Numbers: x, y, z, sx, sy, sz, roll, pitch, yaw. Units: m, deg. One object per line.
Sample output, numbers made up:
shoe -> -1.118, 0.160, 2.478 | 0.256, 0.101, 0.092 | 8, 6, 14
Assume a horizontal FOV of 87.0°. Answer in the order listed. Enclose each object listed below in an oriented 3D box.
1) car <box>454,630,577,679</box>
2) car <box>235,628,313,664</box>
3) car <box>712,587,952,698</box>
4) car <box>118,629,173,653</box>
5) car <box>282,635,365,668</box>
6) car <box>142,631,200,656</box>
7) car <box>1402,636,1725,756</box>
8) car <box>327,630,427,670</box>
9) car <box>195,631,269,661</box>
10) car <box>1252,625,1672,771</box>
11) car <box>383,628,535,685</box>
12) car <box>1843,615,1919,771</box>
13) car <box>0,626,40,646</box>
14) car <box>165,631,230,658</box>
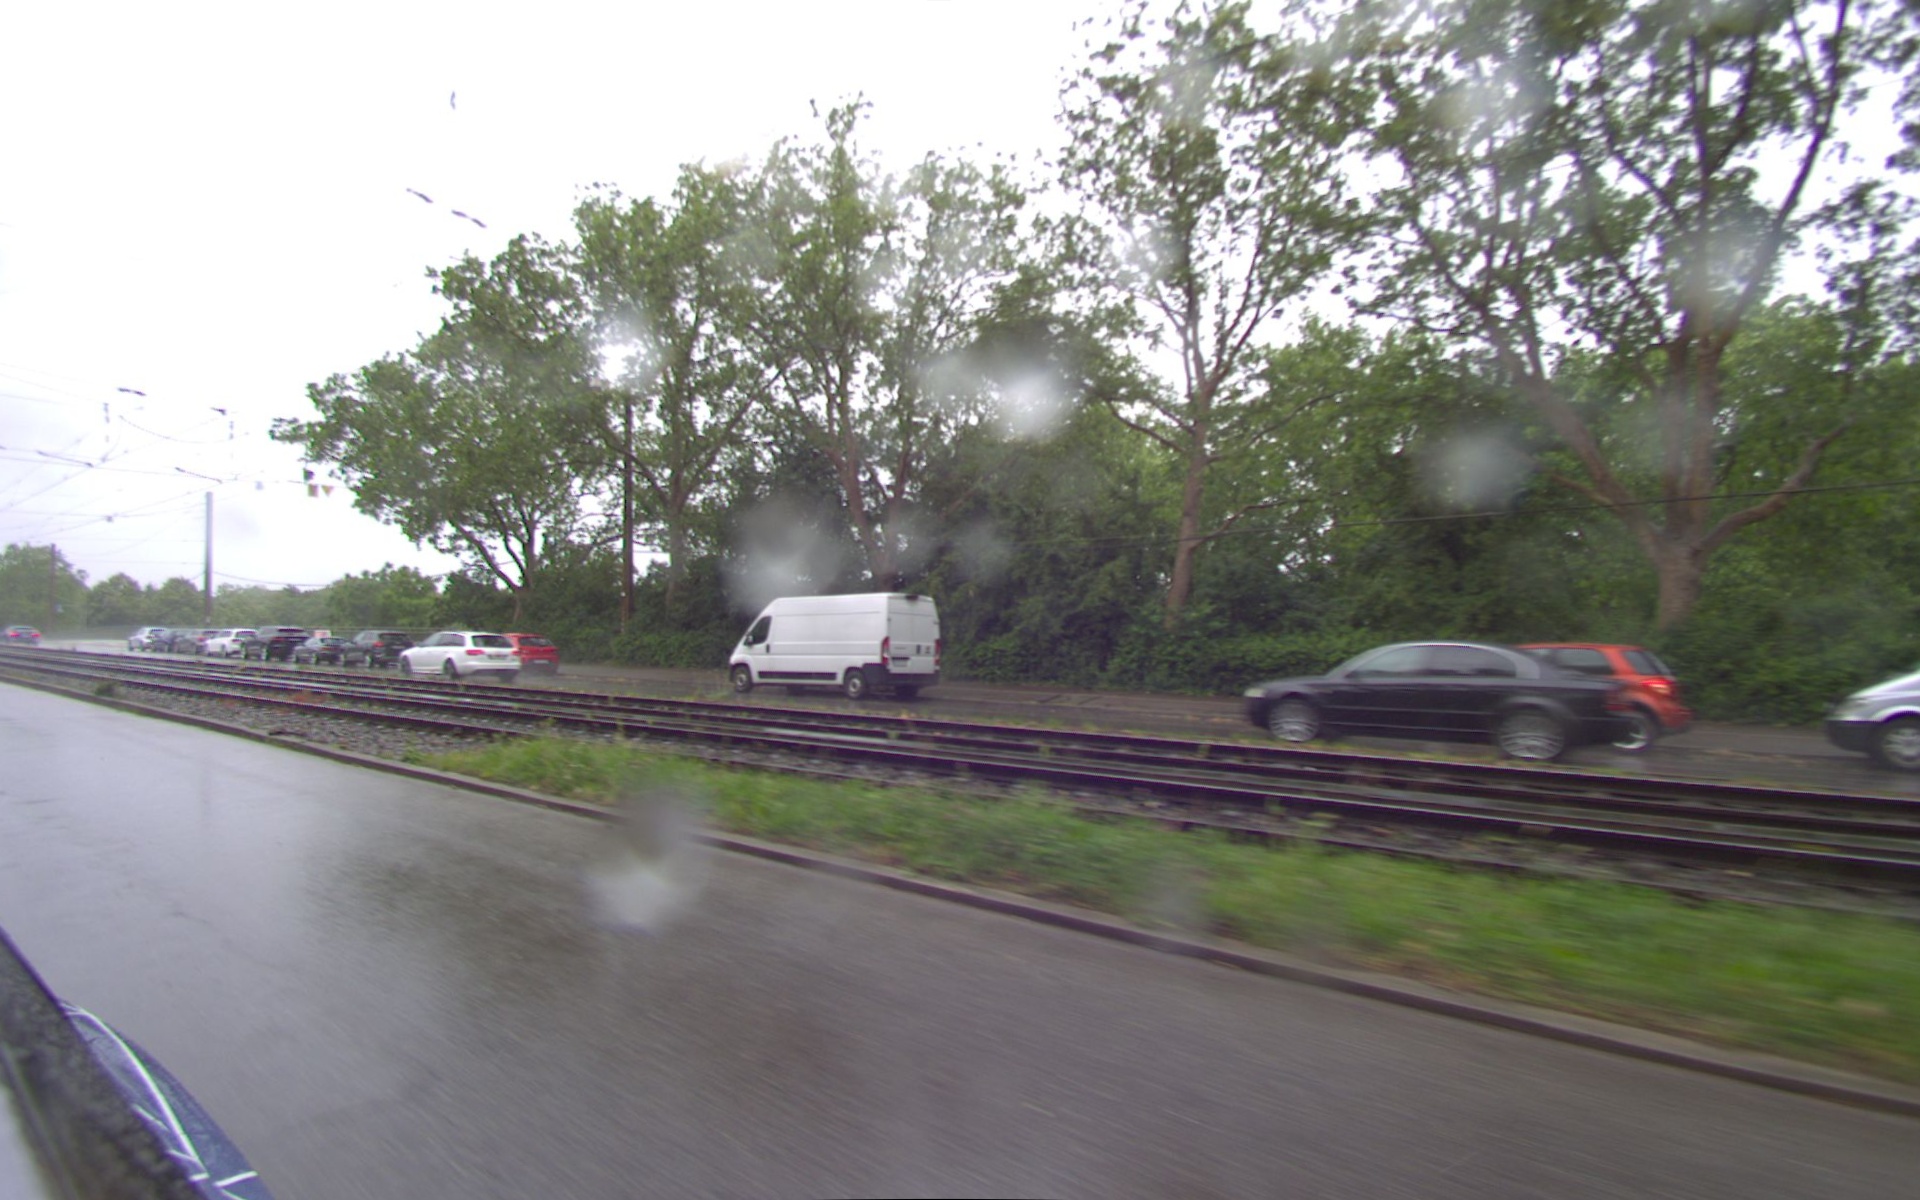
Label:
car -> -15.435, 1.866, 35.095 | 4.377, 1.564, 2.014 | -1, -3, 37
car -> -33.232, 2.210, 48.979 | 4.363, 1.663, 1.867 | -1, -3, 38
car -> -3.325, 1.033, 25.340 | 6.131, 2.465, 2.307 | -1, -3, 38
car -> -51.049, 2.557, 63.411 | 4.144, 1.442, 1.633 | -1, -3, 36
car -> -28.532, 2.297, 45.337 | 3.960, 1.389, 1.867 | -1, -3, 38
car -> -46.921, 2.572, 60.157 | 3.917, 1.442, 1.633 | -1, -3, 35
car -> 9.061, 1.352, 15.351 | 4.019, 1.564, 1.800 | -1, -3, 39
car -> -24.226, 2.068, 41.986 | 4.377, 1.564, 2.014 | -1, -3, 37
car -> -38.051, 2.399, 52.883 | 4.572, 1.522, 1.868 | -1, -3, 38
car -> 6.357, 1.135, 13.099 | 4.561, 1.564, 2.013 | -1, -3, 39
car -> -14.916, 1.628, 30.034 | 4.988, 1.564, 2.014 | -1, -3, 37
car -> 13.568, 1.142, 11.916 | 4.635, 1.876, 1.938 | -1, -3, 39
car -> -70.099, 2.658, 74.963 | 4.910, 1.478, 2.014 | -1, -2, 37
car -> -42.755, 2.485, 56.720 | 4.122, 1.442, 1.634 | -1, -3, 34
